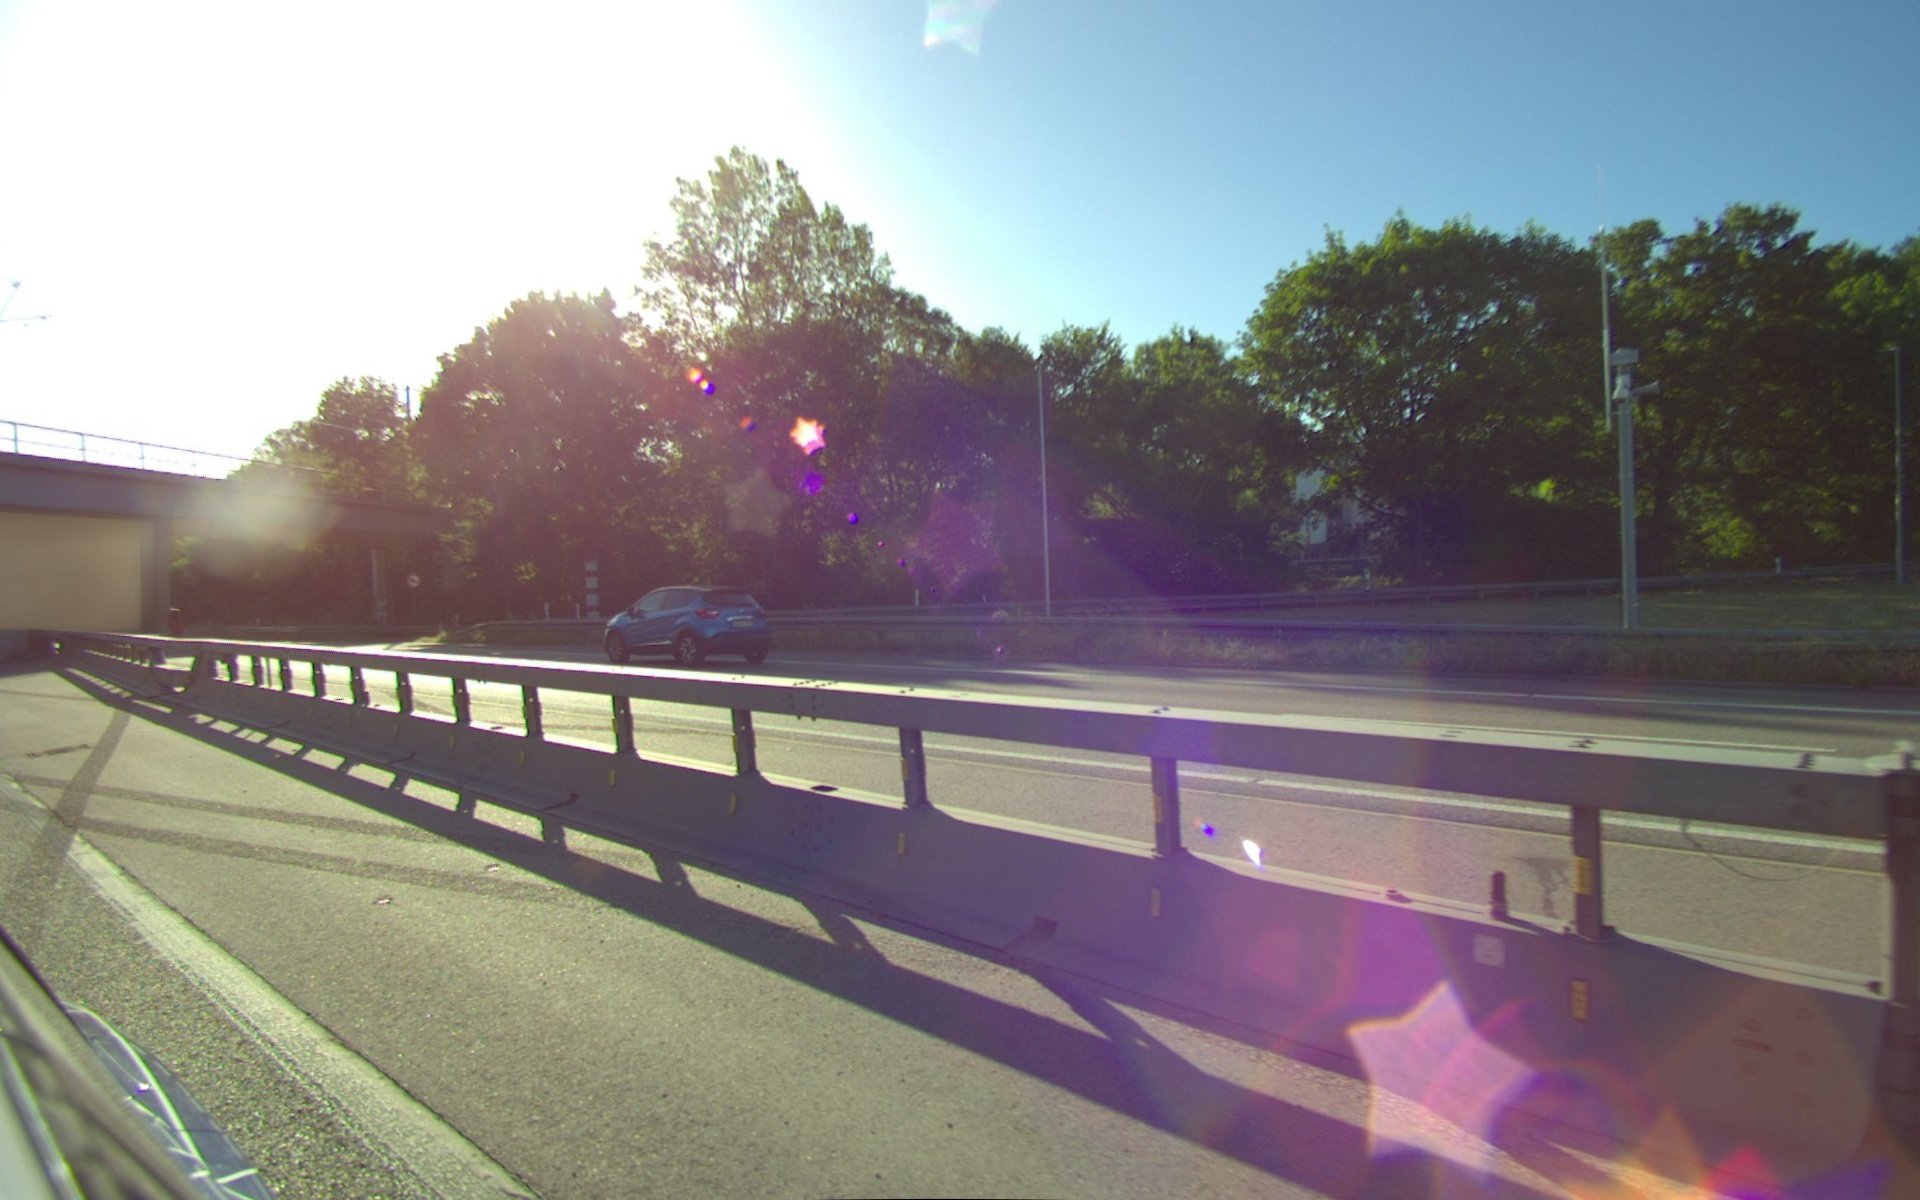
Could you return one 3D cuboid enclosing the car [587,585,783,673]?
[{"bbox_3d":[-5.620,0.566,20.424,4.318,1.584,1.656,-2,-1,40],"label":"car"}]

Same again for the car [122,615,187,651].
[{"bbox_3d":[-45.239,1.846,56.781,5.520,1.925,1.972,-2,-1,42],"label":"car"}]

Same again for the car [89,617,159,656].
[{"bbox_3d":[-37.038,1.591,44.781,4.531,1.590,1.768,-2,-1,42],"label":"car"}]
